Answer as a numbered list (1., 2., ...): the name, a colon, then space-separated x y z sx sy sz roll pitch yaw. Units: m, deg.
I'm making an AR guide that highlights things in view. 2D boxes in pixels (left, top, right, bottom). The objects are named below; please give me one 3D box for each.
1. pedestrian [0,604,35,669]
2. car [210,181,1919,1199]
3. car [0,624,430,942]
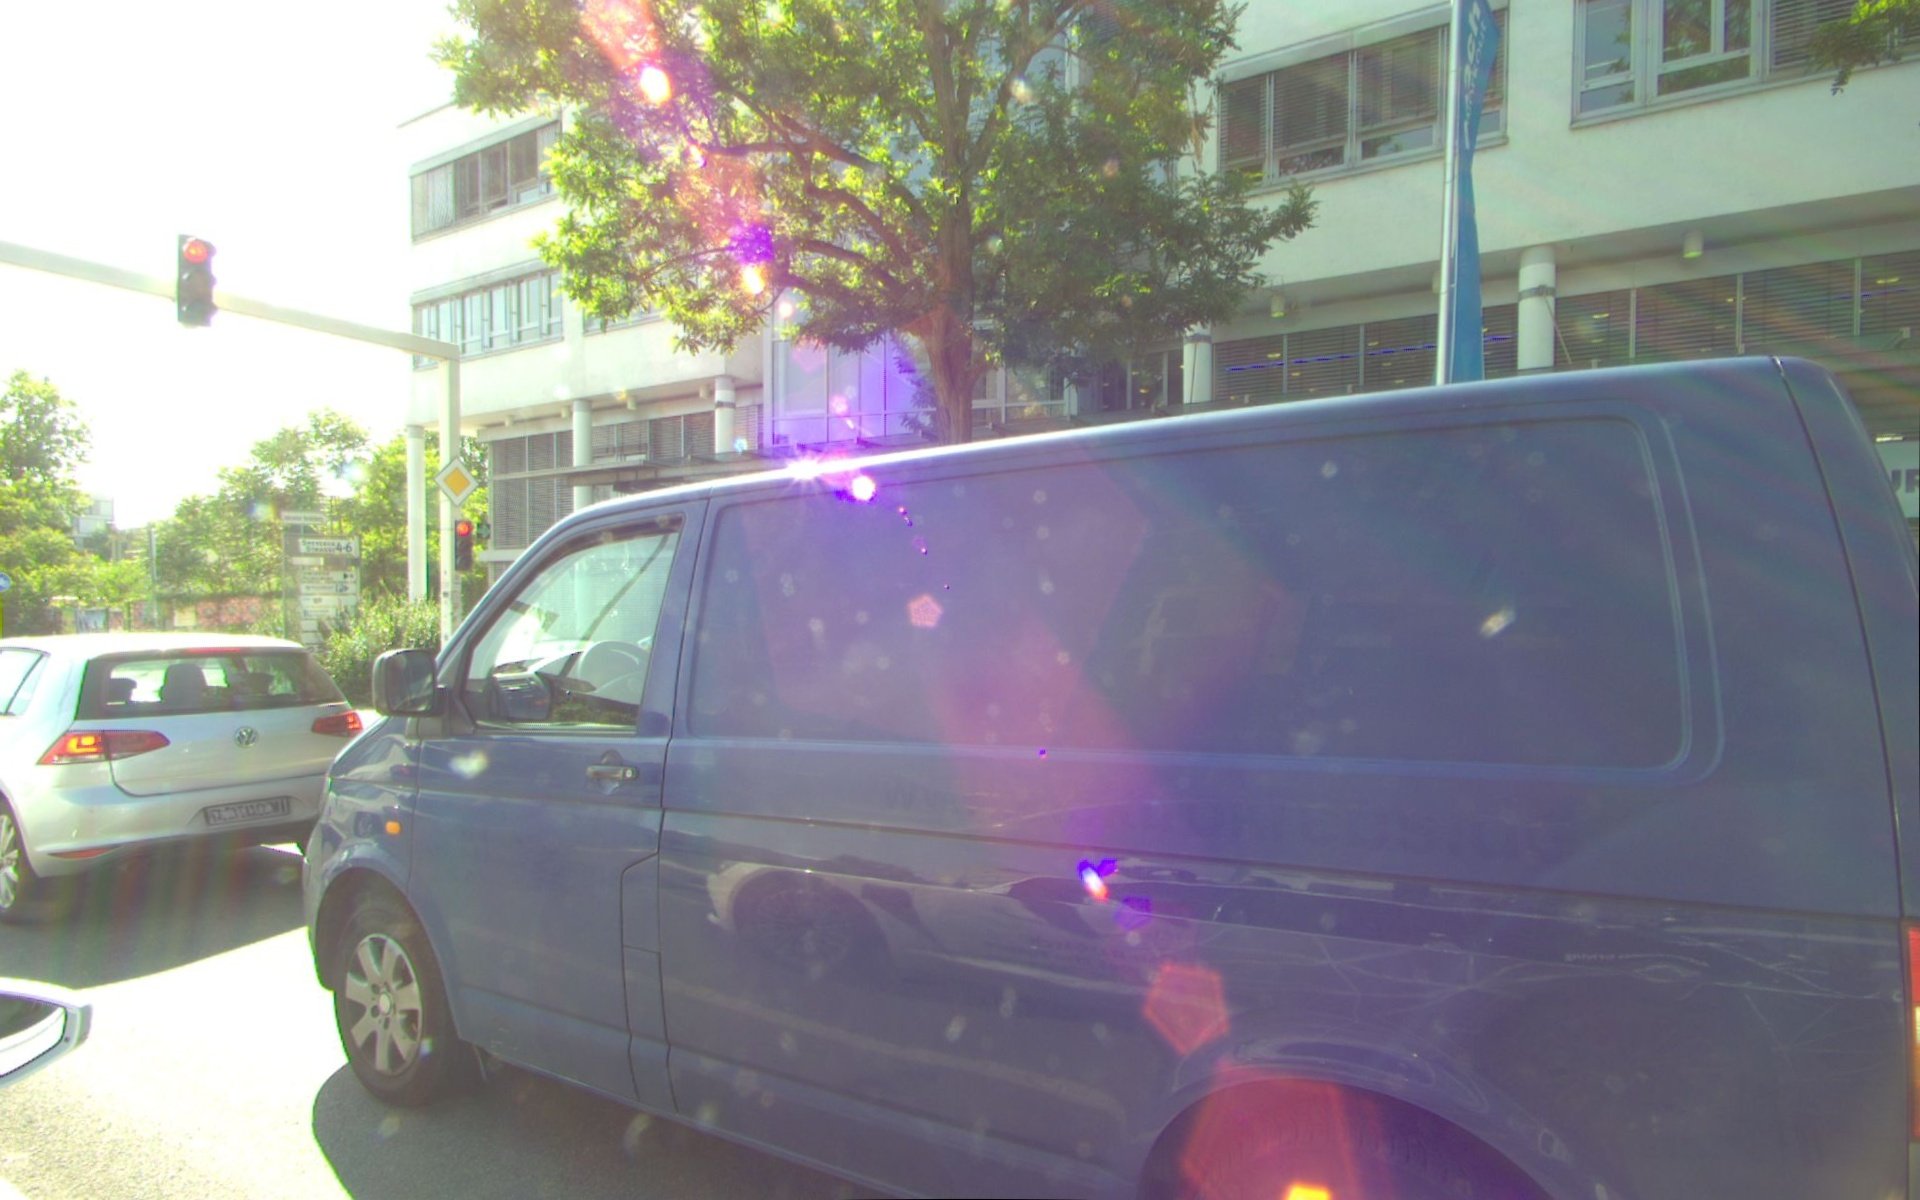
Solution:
1. pedestrian: -30.107 1.143 31.663 1.023 2.040 1.025 0 0 32
2. car: -0.153 0.540 3.195 4.821 1.973 1.989 -1 -1 32
3. car: -5.480 0.920 6.464 3.940 1.448 1.805 -1 0 30
